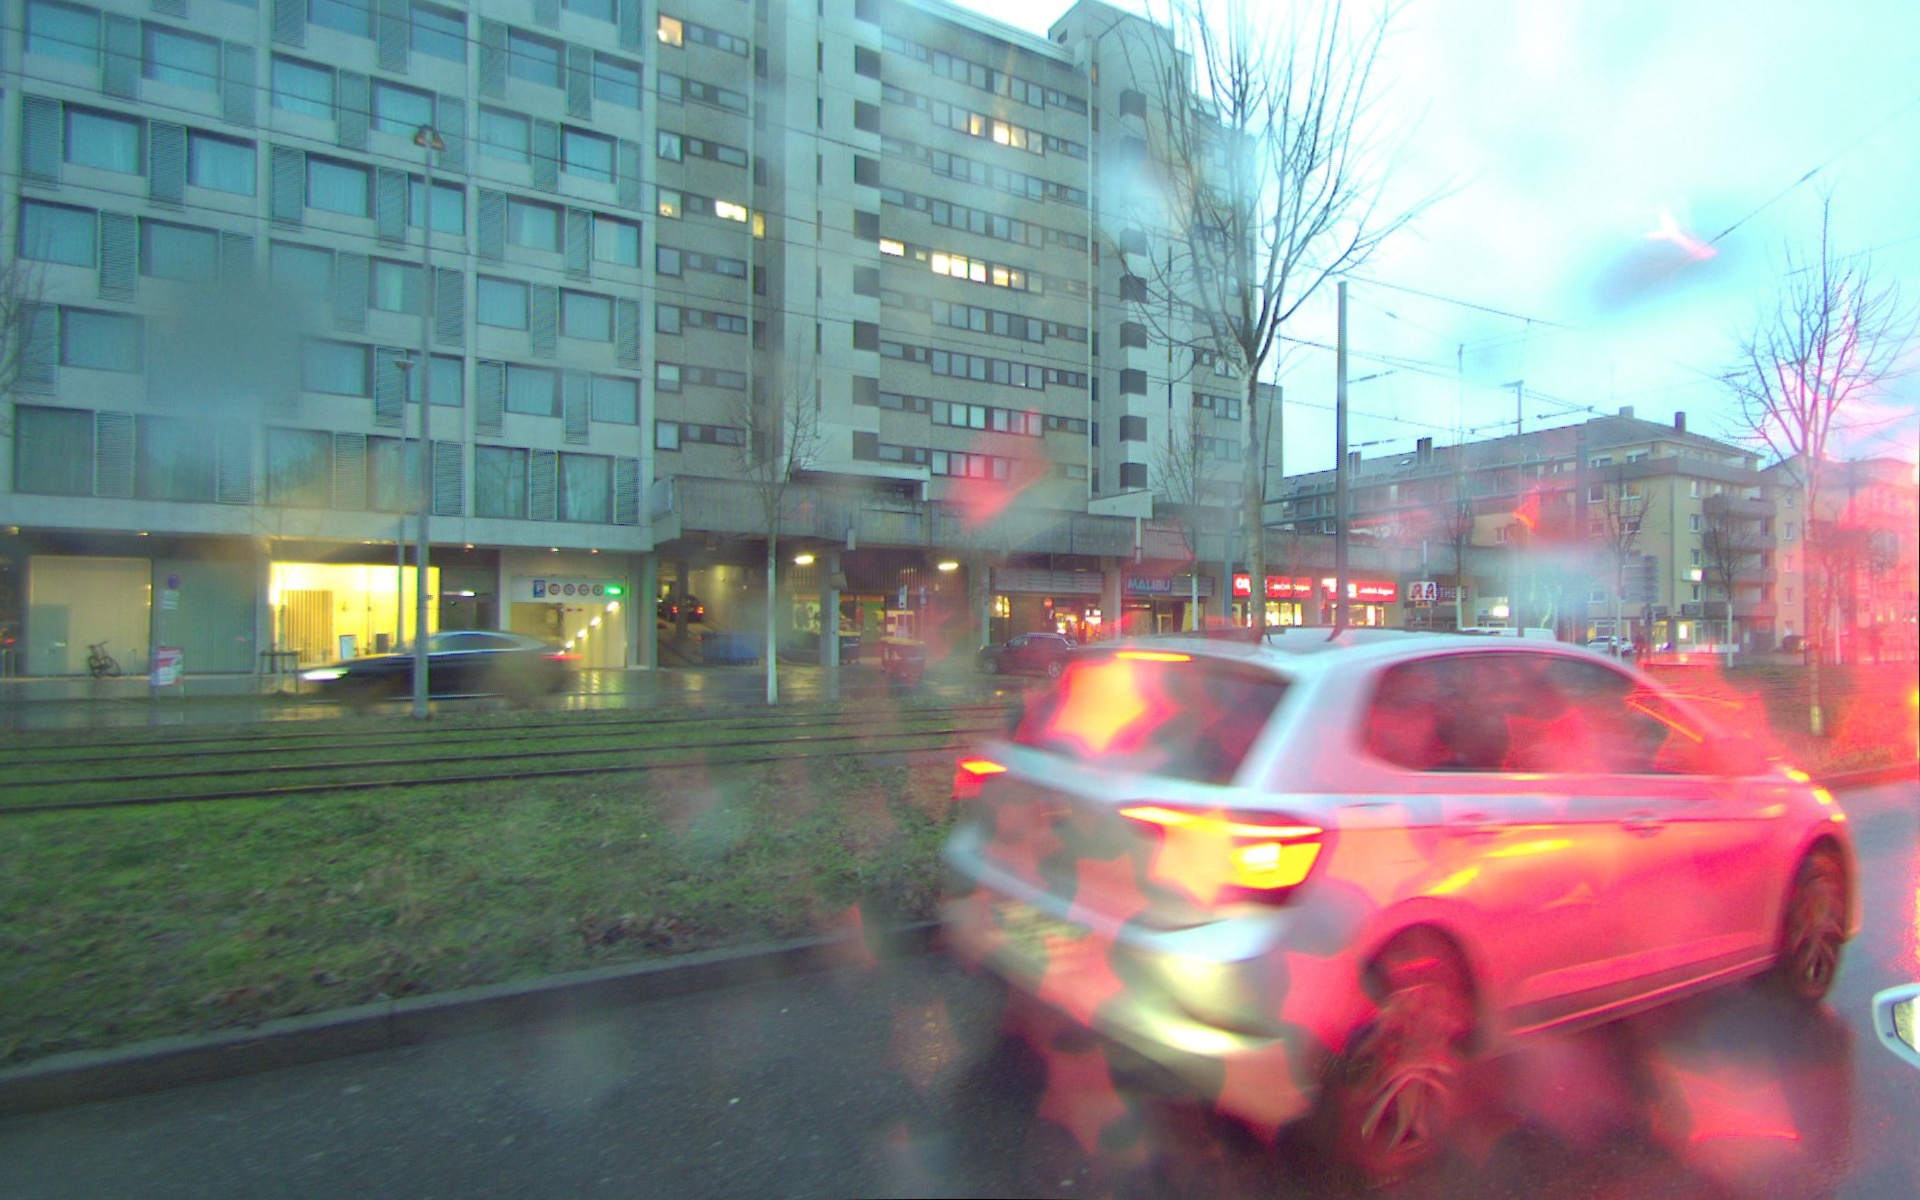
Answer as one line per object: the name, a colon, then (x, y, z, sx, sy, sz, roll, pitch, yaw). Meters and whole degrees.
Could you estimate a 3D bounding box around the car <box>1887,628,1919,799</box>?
car: (10.369, 1.013, 9.022, 4.562, 1.424, 1.837, 2, -1, -31)

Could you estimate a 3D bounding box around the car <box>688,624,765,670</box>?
car: (-9.359, 1.826, 40.058, 1.709, 1.718, 4.336, 1, -2, -32)

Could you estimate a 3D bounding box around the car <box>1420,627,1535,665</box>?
car: (27.175, 2.405, 52.928, 5.059, 1.937, 2.001, 0, -2, 15)

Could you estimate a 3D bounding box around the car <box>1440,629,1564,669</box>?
car: (26.668, 2.390, 49.543, 5.063, 1.937, 2.000, 0, -2, -2)

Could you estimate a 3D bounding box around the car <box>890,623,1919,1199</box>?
car: (1.880, 0.829, 3.918, 3.936, 1.389, 1.753, 2, -1, -31)

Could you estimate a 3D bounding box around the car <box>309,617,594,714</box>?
car: (-10.024, 1.240, 20.071, 4.859, 1.741, 1.887, 1, -2, -30)

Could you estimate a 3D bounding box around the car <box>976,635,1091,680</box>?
car: (2.817, 2.174, 38.522, 3.925, 1.405, 1.935, 2, 0, 26)

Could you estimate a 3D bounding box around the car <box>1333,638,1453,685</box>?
car: (16.310, 2.250, 37.787, 4.526, 1.655, 1.887, 1, -2, -30)
